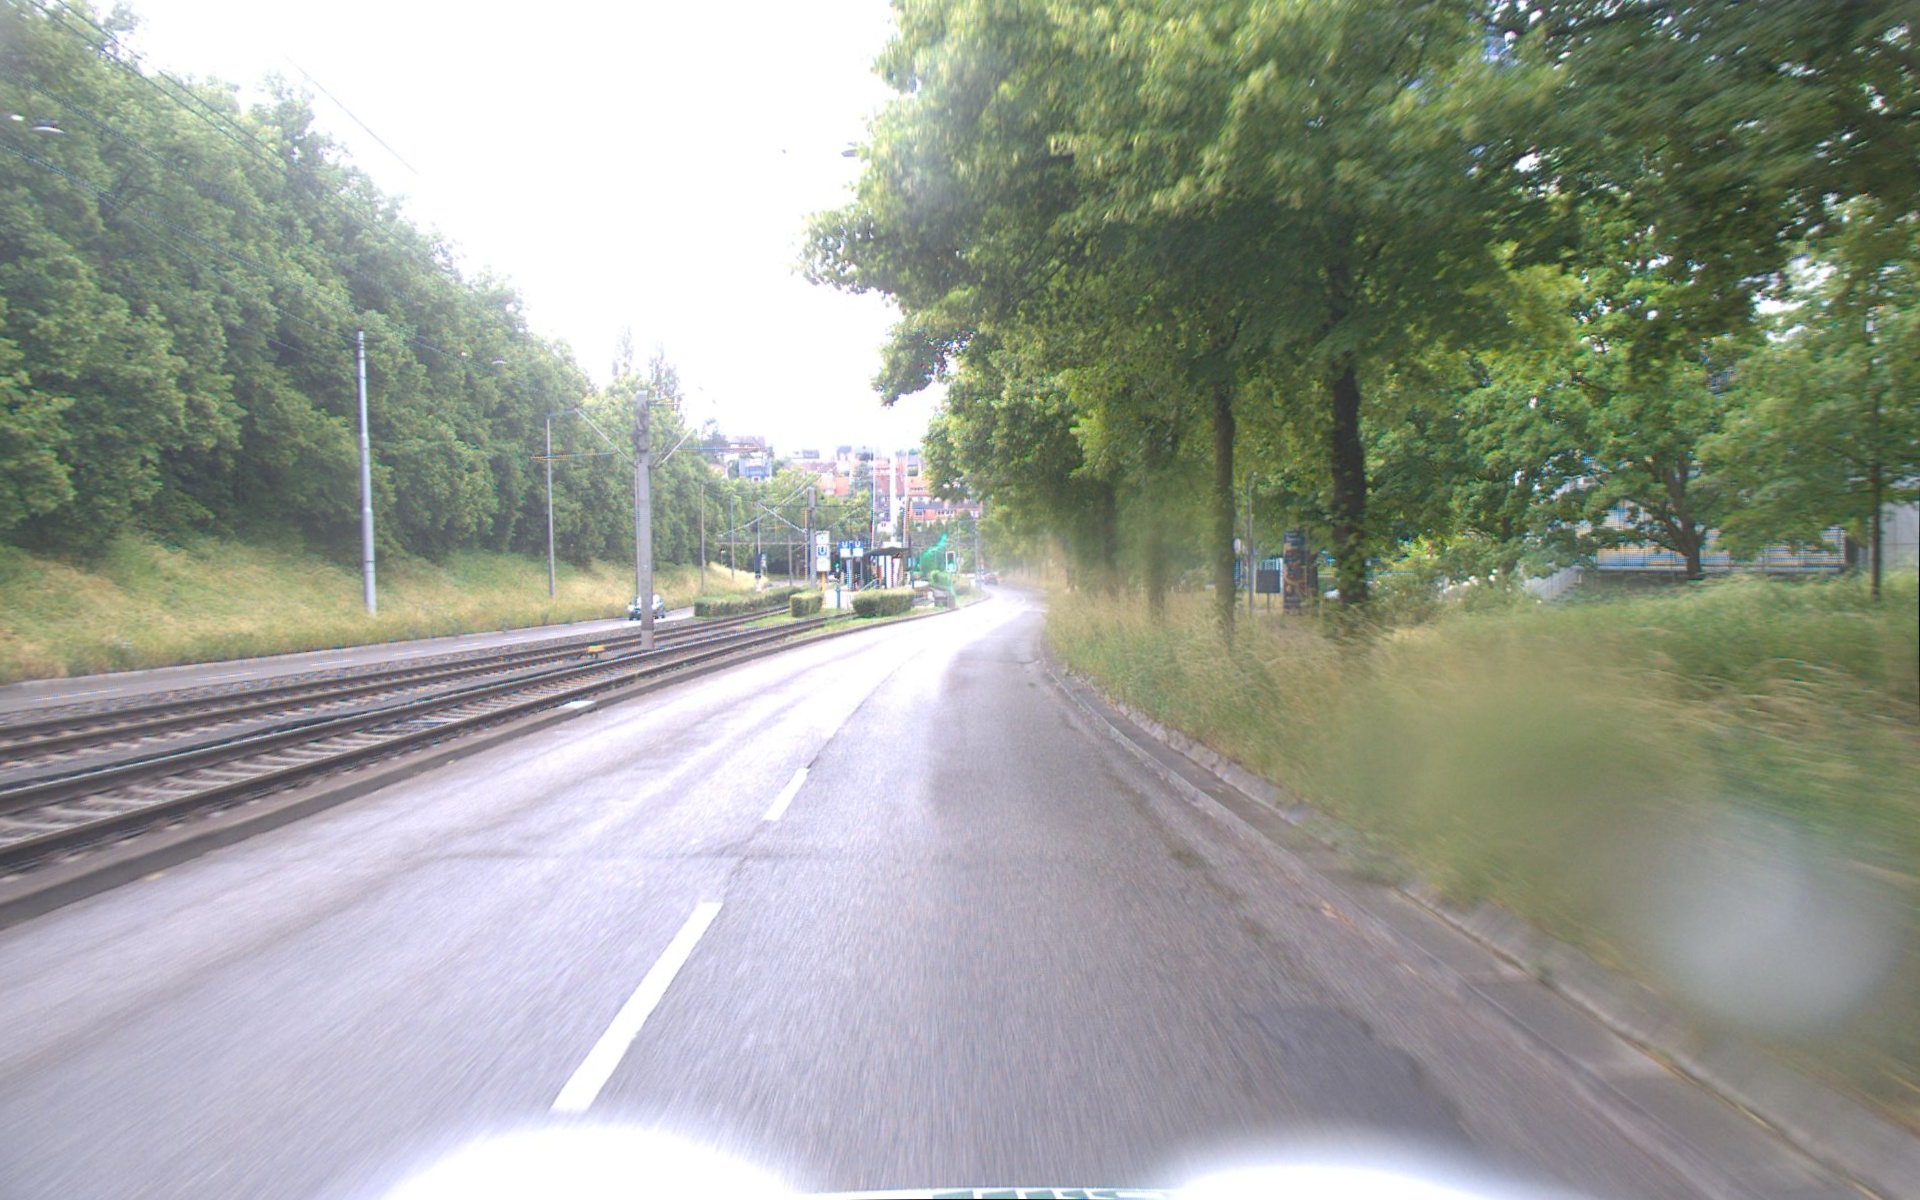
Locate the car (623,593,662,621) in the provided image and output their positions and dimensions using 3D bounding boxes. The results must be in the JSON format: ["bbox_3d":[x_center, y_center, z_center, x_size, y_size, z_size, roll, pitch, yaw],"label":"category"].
[{"bbox_3d":[-19.211,0.434,100.338,1.749,1.579,3.959,-2,0,-3],"label":"car"}]
